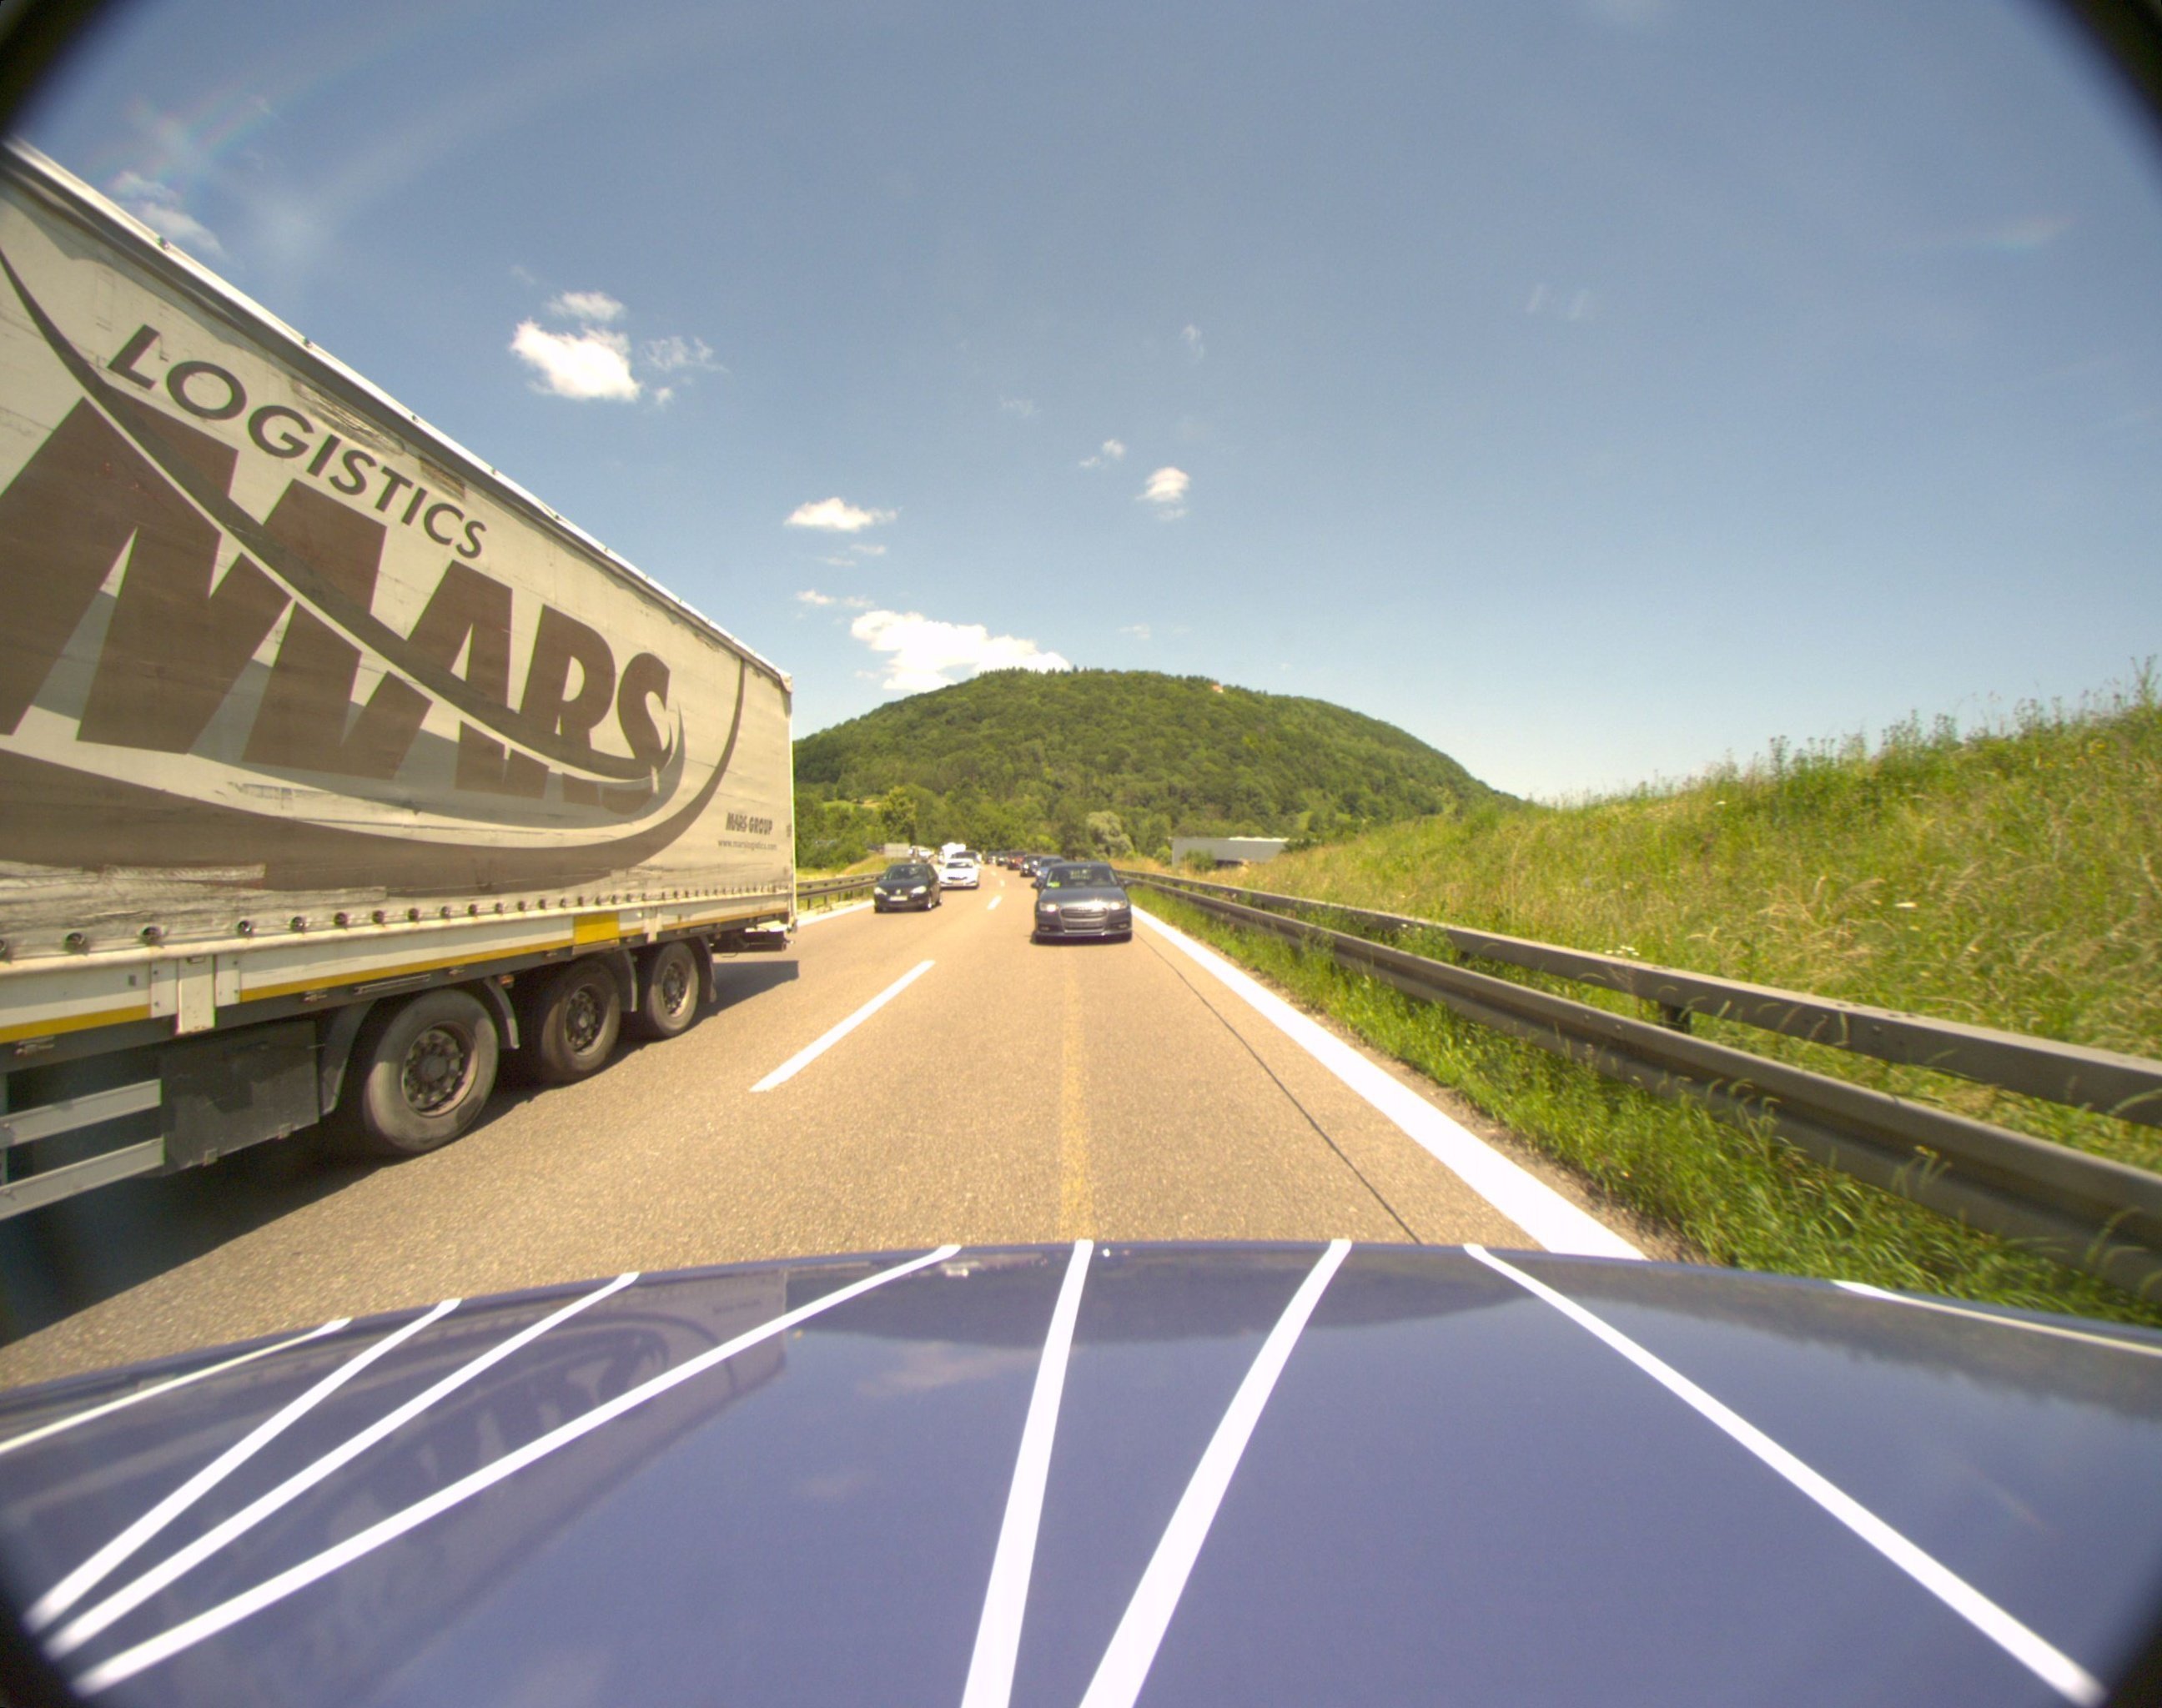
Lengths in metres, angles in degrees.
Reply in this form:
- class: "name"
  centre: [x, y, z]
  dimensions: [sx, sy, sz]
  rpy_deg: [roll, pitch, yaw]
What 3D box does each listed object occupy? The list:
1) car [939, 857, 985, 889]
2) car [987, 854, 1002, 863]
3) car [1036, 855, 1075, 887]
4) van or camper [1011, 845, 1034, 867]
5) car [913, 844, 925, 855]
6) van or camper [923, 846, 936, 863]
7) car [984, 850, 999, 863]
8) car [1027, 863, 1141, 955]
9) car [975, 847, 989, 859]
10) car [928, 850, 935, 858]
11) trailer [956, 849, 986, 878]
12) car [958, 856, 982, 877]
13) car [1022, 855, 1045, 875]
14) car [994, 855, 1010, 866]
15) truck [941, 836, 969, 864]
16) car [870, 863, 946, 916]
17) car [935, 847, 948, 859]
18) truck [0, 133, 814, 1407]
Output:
- class: "car"
  centre: [-5.812, 0.908, 37.411]
  dimensions: [1.908, 1.422, 3.720]
  rpy_deg: [-2, 0, -4]
- class: "car"
  centre: [-10.743, 0.543, 94.398]
  dimensions: [1.492, 1.102, 3.210]
  rpy_deg: [-3, 1, -11]
- class: "car"
  centre: [-1.325, 0.798, 37.676]
  dimensions: [1.696, 1.422, 3.461]
  rpy_deg: [-2, 0, -5]
- class: "van or camper"
  centre: [-5.295, 0.214, 68.435]
  dimensions: [1.818, 1.855, 3.611]
  rpy_deg: [-2, 0, -7]
- class: "car"
  centre: [-31.208, -0.795, 146.429]
  dimensions: [2.001, 2.002, 3.995]
  rpy_deg: [-3, 1, -13]
- class: "van or camper"
  centre: [-27.465, 0.059, 137.622]
  dimensions: [1.912, 3.010, 4.868]
  rpy_deg: [-1, 0, -15]
- class: "car"
  centre: [-12.264, 0.369, 103.921]
  dimensions: [1.532, 1.627, 3.415]
  rpy_deg: [-4, 1, -13]
- class: "car"
  centre: [-0.084, 0.914, 14.346]
  dimensions: [1.756, 1.382, 4.053]
  rpy_deg: [-2, 0, -5]
- class: "car"
  centre: [-14.477, -0.084, 111.214]
  dimensions: [1.532, 1.627, 3.415]
  rpy_deg: [-4, 1, -13]
- class: "car"
  centre: [-30.290, 0.015, 154.168]
  dimensions: [1.247, 1.470, 2.957]
  rpy_deg: [-4, 1, -12]
- class: "trailer"
  centre: [-7.979, 0.682, 55.233]
  dimensions: [2.000, 1.958, 3.997]
  rpy_deg: [-1, 0, -8]
- class: "car"
  centre: [-7.474, 0.809, 51.370]
  dimensions: [1.489, 1.375, 3.736]
  rpy_deg: [0, 0, -6]
- class: "car"
  centre: [-3.257, 0.711, 51.507]
  dimensions: [1.287, 1.305, 3.450]
  rpy_deg: [-2, 0, -7]
- class: "car"
  centre: [-8.516, 0.675, 81.640]
  dimensions: [1.492, 1.102, 3.211]
  rpy_deg: [-2, 1, -8]
- class: "truck"
  centre: [-15.146, -0.395, 90.984]
  dimensions: [2.605, 3.089, 6.850]
  rpy_deg: [-4, 1, -14]
- class: "car"
  centre: [-5.276, 1.041, 23.600]
  dimensions: [1.696, 1.414, 3.836]
  rpy_deg: [-2, 0, -5]
- class: "car"
  centre: [-20.291, -0.132, 110.410]
  dimensions: [1.700, 1.523, 3.676]
  rpy_deg: [-4, 1, -12]
- class: "truck"
  centre: [-4.816, -0.272, 3.319]
  dimensions: [2.733, 4.044, 13.737]
  rpy_deg: [-2, 1, -2]
